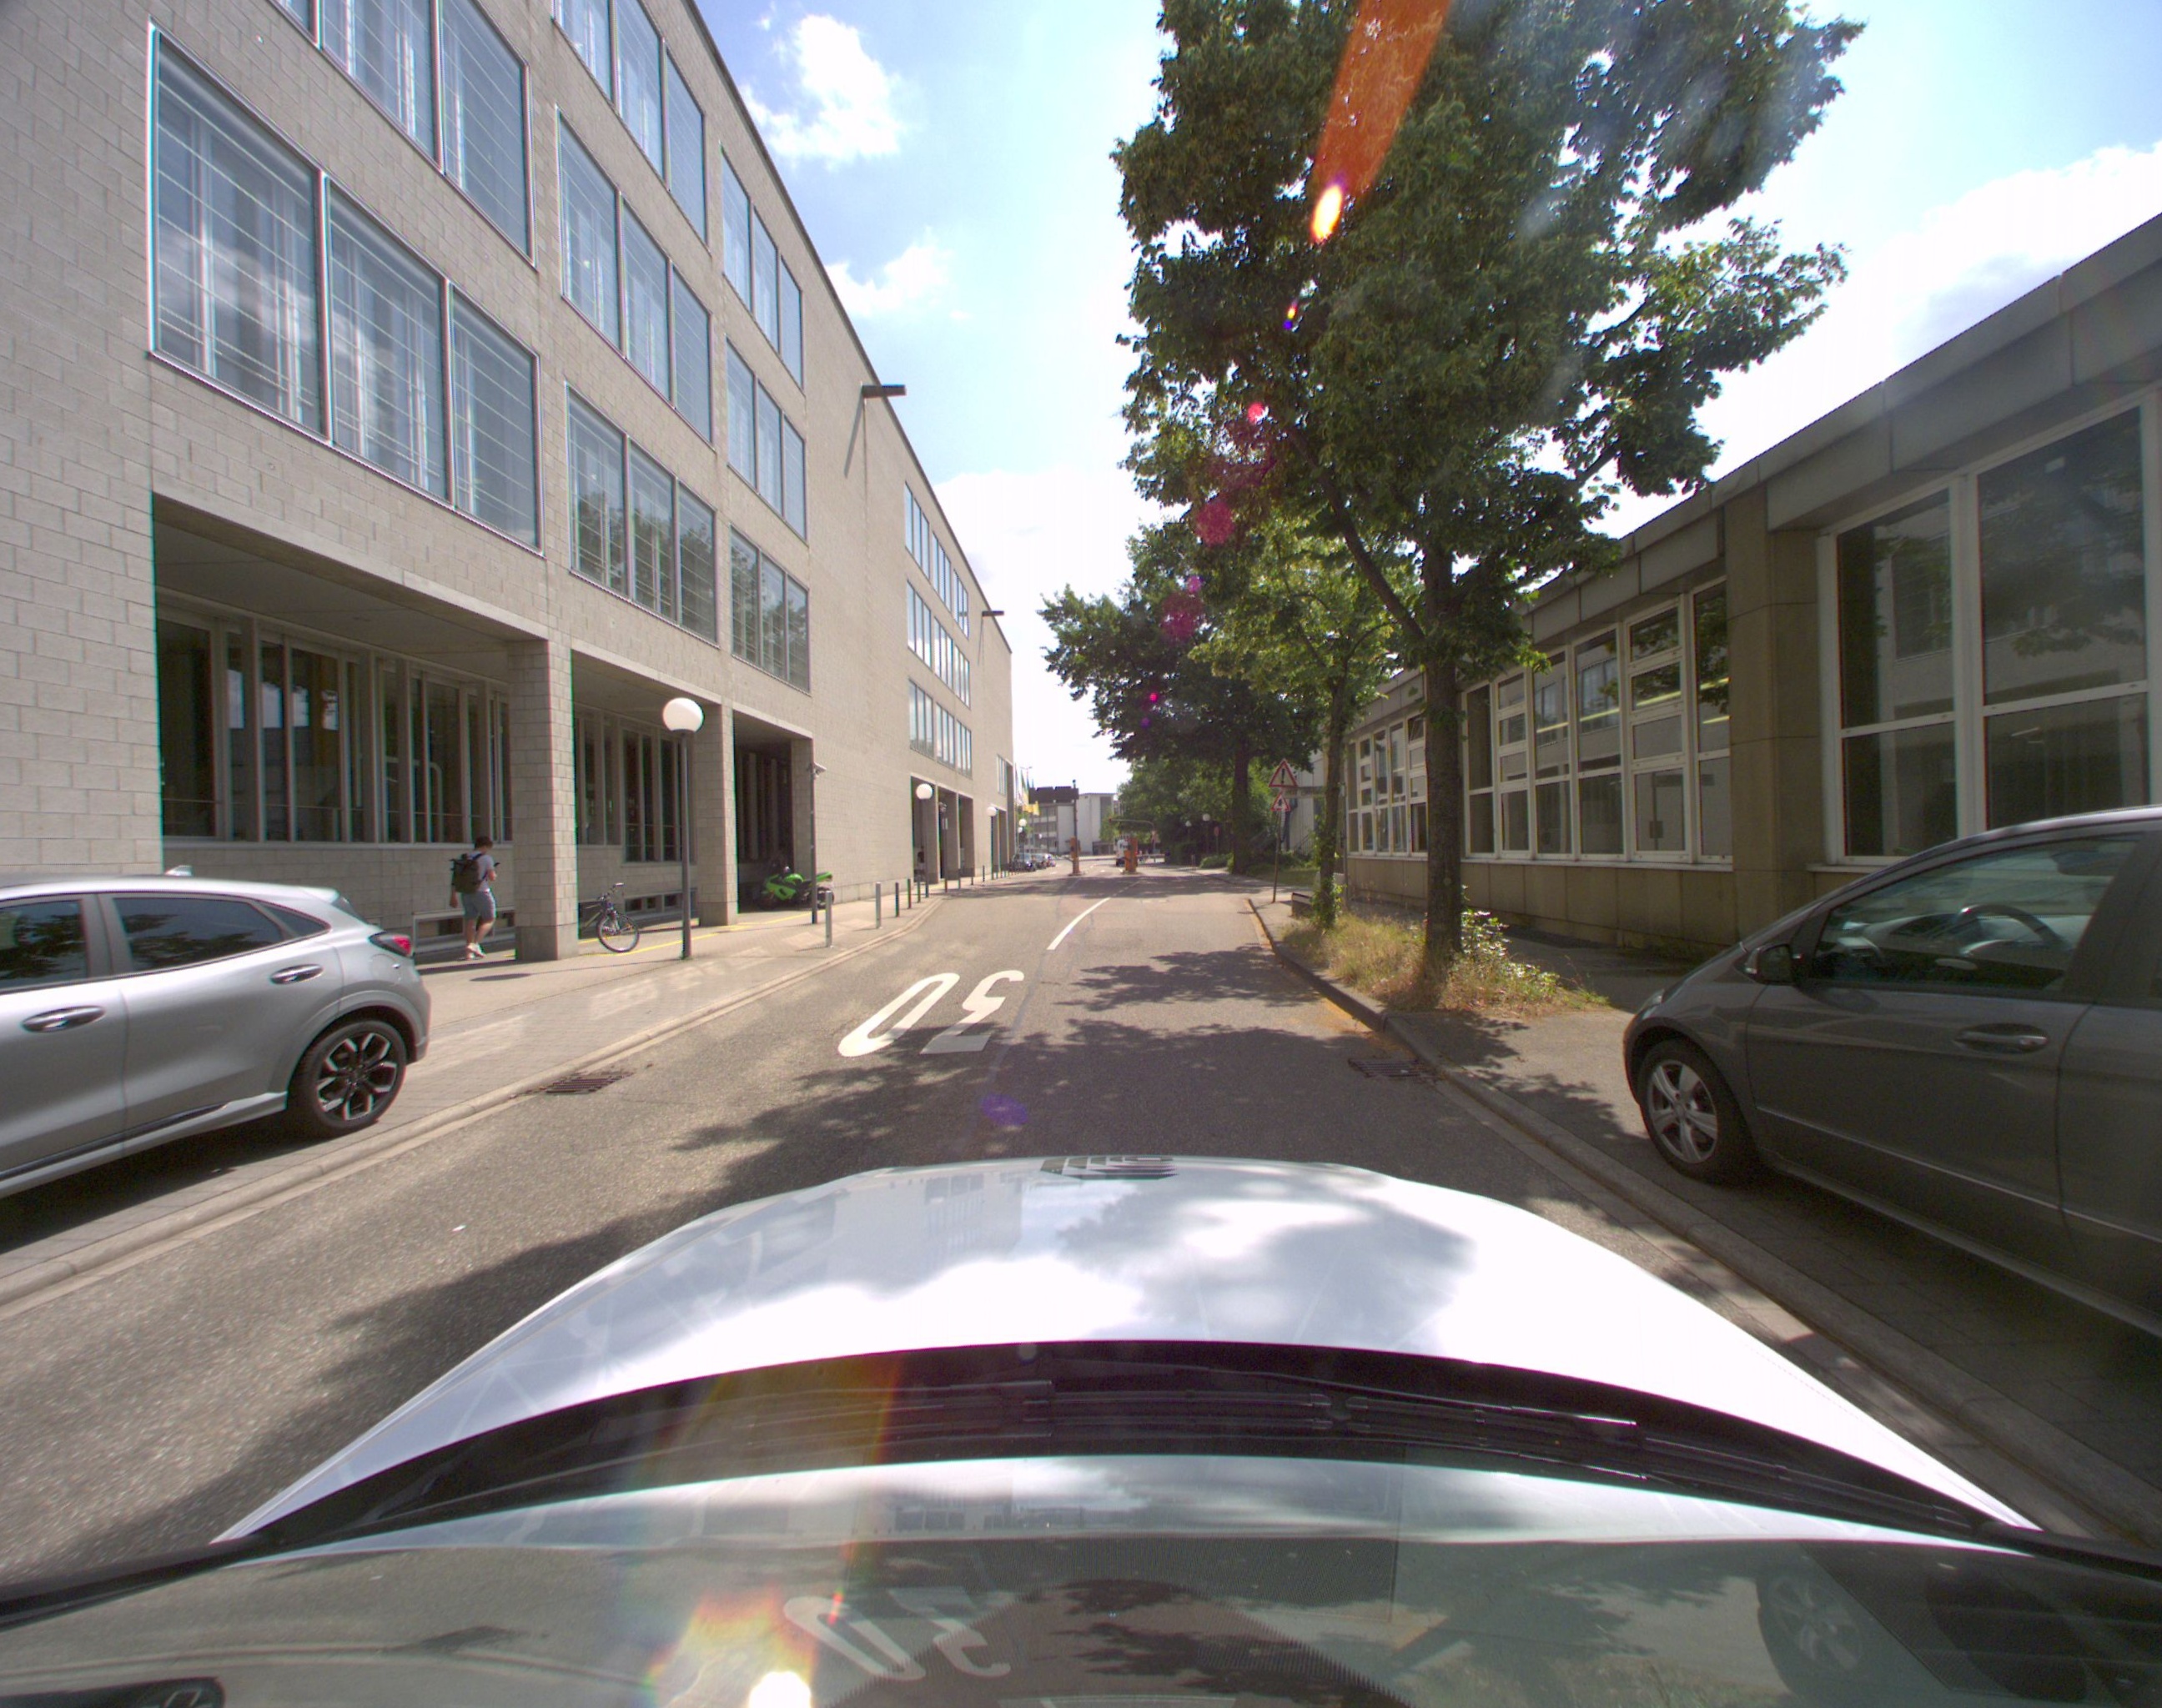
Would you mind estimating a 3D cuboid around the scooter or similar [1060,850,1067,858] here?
[{"bbox_3d":[-2.939,-0.013,136.478,0.716,1.178,2.717,-2,0,-9],"label":"scooter or similar"}]

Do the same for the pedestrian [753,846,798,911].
[{"bbox_3d":[-8.792,0.684,23.467,0.799,1.804,0.925,-4,0,2],"label":"pedestrian"}]

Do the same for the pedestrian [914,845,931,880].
[{"bbox_3d":[-8.696,0.479,44.647,0.728,1.880,0.720,-1,0,2],"label":"pedestrian"}]

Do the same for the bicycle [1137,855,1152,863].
[{"bbox_3d":[8.357,0.682,106.749,2.118,0.995,0.671,-1,0,-39],"label":"bicycle"}]

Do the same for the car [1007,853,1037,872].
[{"bbox_3d":[-4.532,0.635,63.378,1.852,1.467,4.720,0,0,2],"label":"car"}]

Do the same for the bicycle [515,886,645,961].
[{"bbox_3d":[-7.979,1.093,13.014,1.635,1.086,0.607,-1,0,-4],"label":"bicycle"}]

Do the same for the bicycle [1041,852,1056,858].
[{"bbox_3d":[-6.780,0.215,169.306,2.978,1.363,1.105,-1,0,-36],"label":"bicycle"}]

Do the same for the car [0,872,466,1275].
[{"bbox_3d":[-5.070,0.876,3.267,1.719,1.535,4.408,0,0,2],"label":"car"}]

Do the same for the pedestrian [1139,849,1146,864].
[{"bbox_3d":[7.835,0.306,103.519,0.764,1.859,0.722,-2,0,3],"label":"pedestrian"}]

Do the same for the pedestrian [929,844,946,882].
[{"bbox_3d":[-7.874,0.479,44.655,0.696,2.013,0.830,-1,0,2],"label":"pedestrian"}]

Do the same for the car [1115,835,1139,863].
[{"bbox_3d":[4.508,-0.481,80.087,2.087,2.566,5.603,-2,0,1],"label":"car"}]

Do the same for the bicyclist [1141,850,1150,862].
[{"bbox_3d":[8.427,0.259,106.810,0.898,1.495,0.657,-1,0,-39],"label":"bicyclist"}]

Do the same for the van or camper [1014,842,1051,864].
[{"bbox_3d":[-7.736,-0.101,129.955,5.694,3.259,2.354,-2,0,-1],"label":"van or camper"}]

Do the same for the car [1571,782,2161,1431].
[{"bbox_3d":[3.457,0.564,2.384,1.750,1.568,3.818,-3,0,1],"label":"car"}]

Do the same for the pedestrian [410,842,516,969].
[{"bbox_3d":[-9.366,0.746,12.379,0.774,1.838,1.014,-1,0,1],"label":"pedestrian"}]

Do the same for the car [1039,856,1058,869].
[{"bbox_3d":[-3.635,0.938,91.294,1.670,1.395,4.665,0,0,2],"label":"car"}]

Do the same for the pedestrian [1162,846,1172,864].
[{"bbox_3d":[8.098,0.104,76.920,0.737,1.674,1.256,-2,0,-2],"label":"pedestrian"}]

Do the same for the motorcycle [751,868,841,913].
[{"bbox_3d":[-7.734,0.974,22.178,2.165,1.138,0.773,-1,0,-9],"label":"motorcycle"}]

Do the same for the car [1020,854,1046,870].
[{"bbox_3d":[-4.397,0.749,75.413,1.852,1.378,5.020,0,0,3],"label":"car"}]
